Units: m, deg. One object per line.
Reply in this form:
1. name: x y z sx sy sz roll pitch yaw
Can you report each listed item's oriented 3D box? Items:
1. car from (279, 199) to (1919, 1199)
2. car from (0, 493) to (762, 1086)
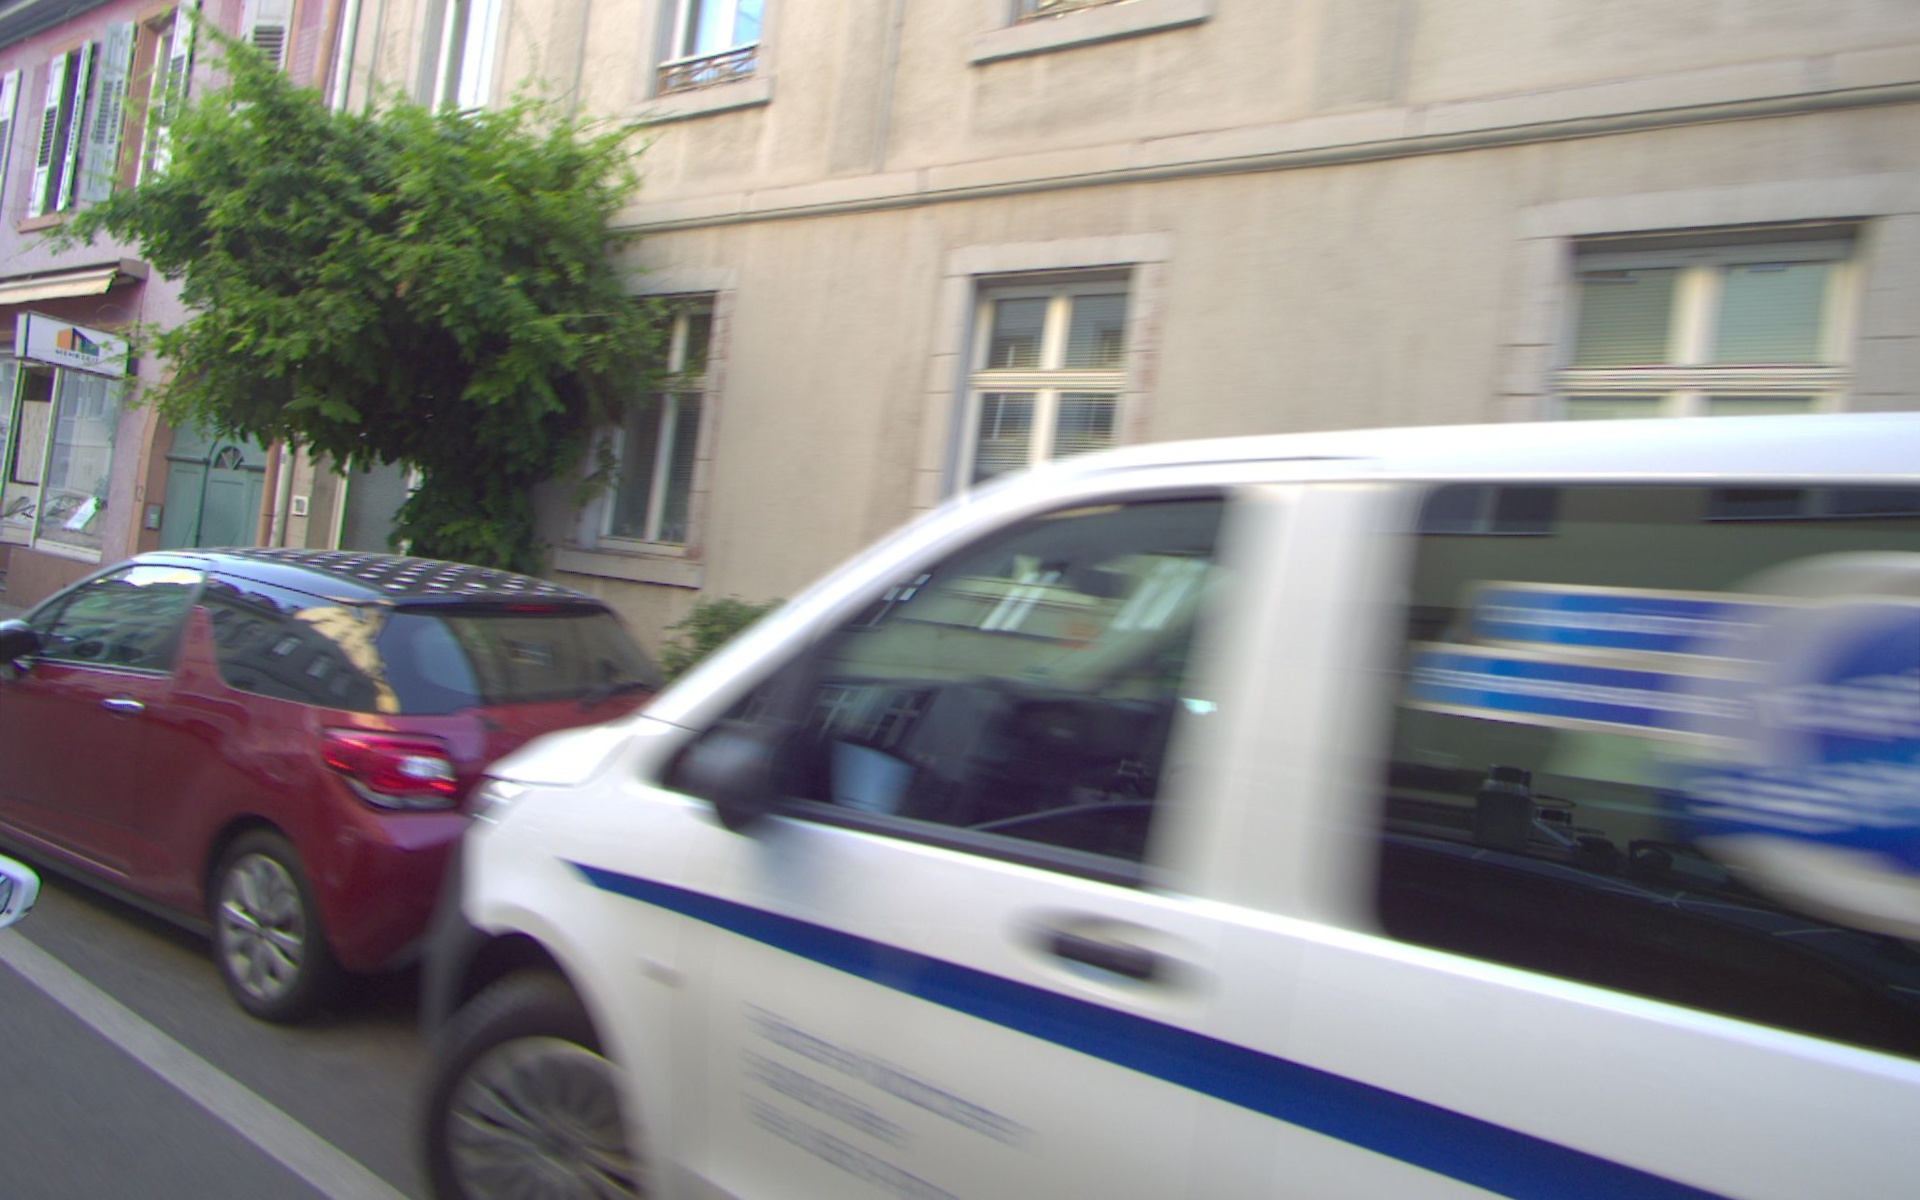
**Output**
1. car: 1.127 0.675 1.793 5.192 1.920 1.938 7 -1 34
2. car: -2.932 0.479 4.401 3.688 1.523 1.659 7 -1 27
